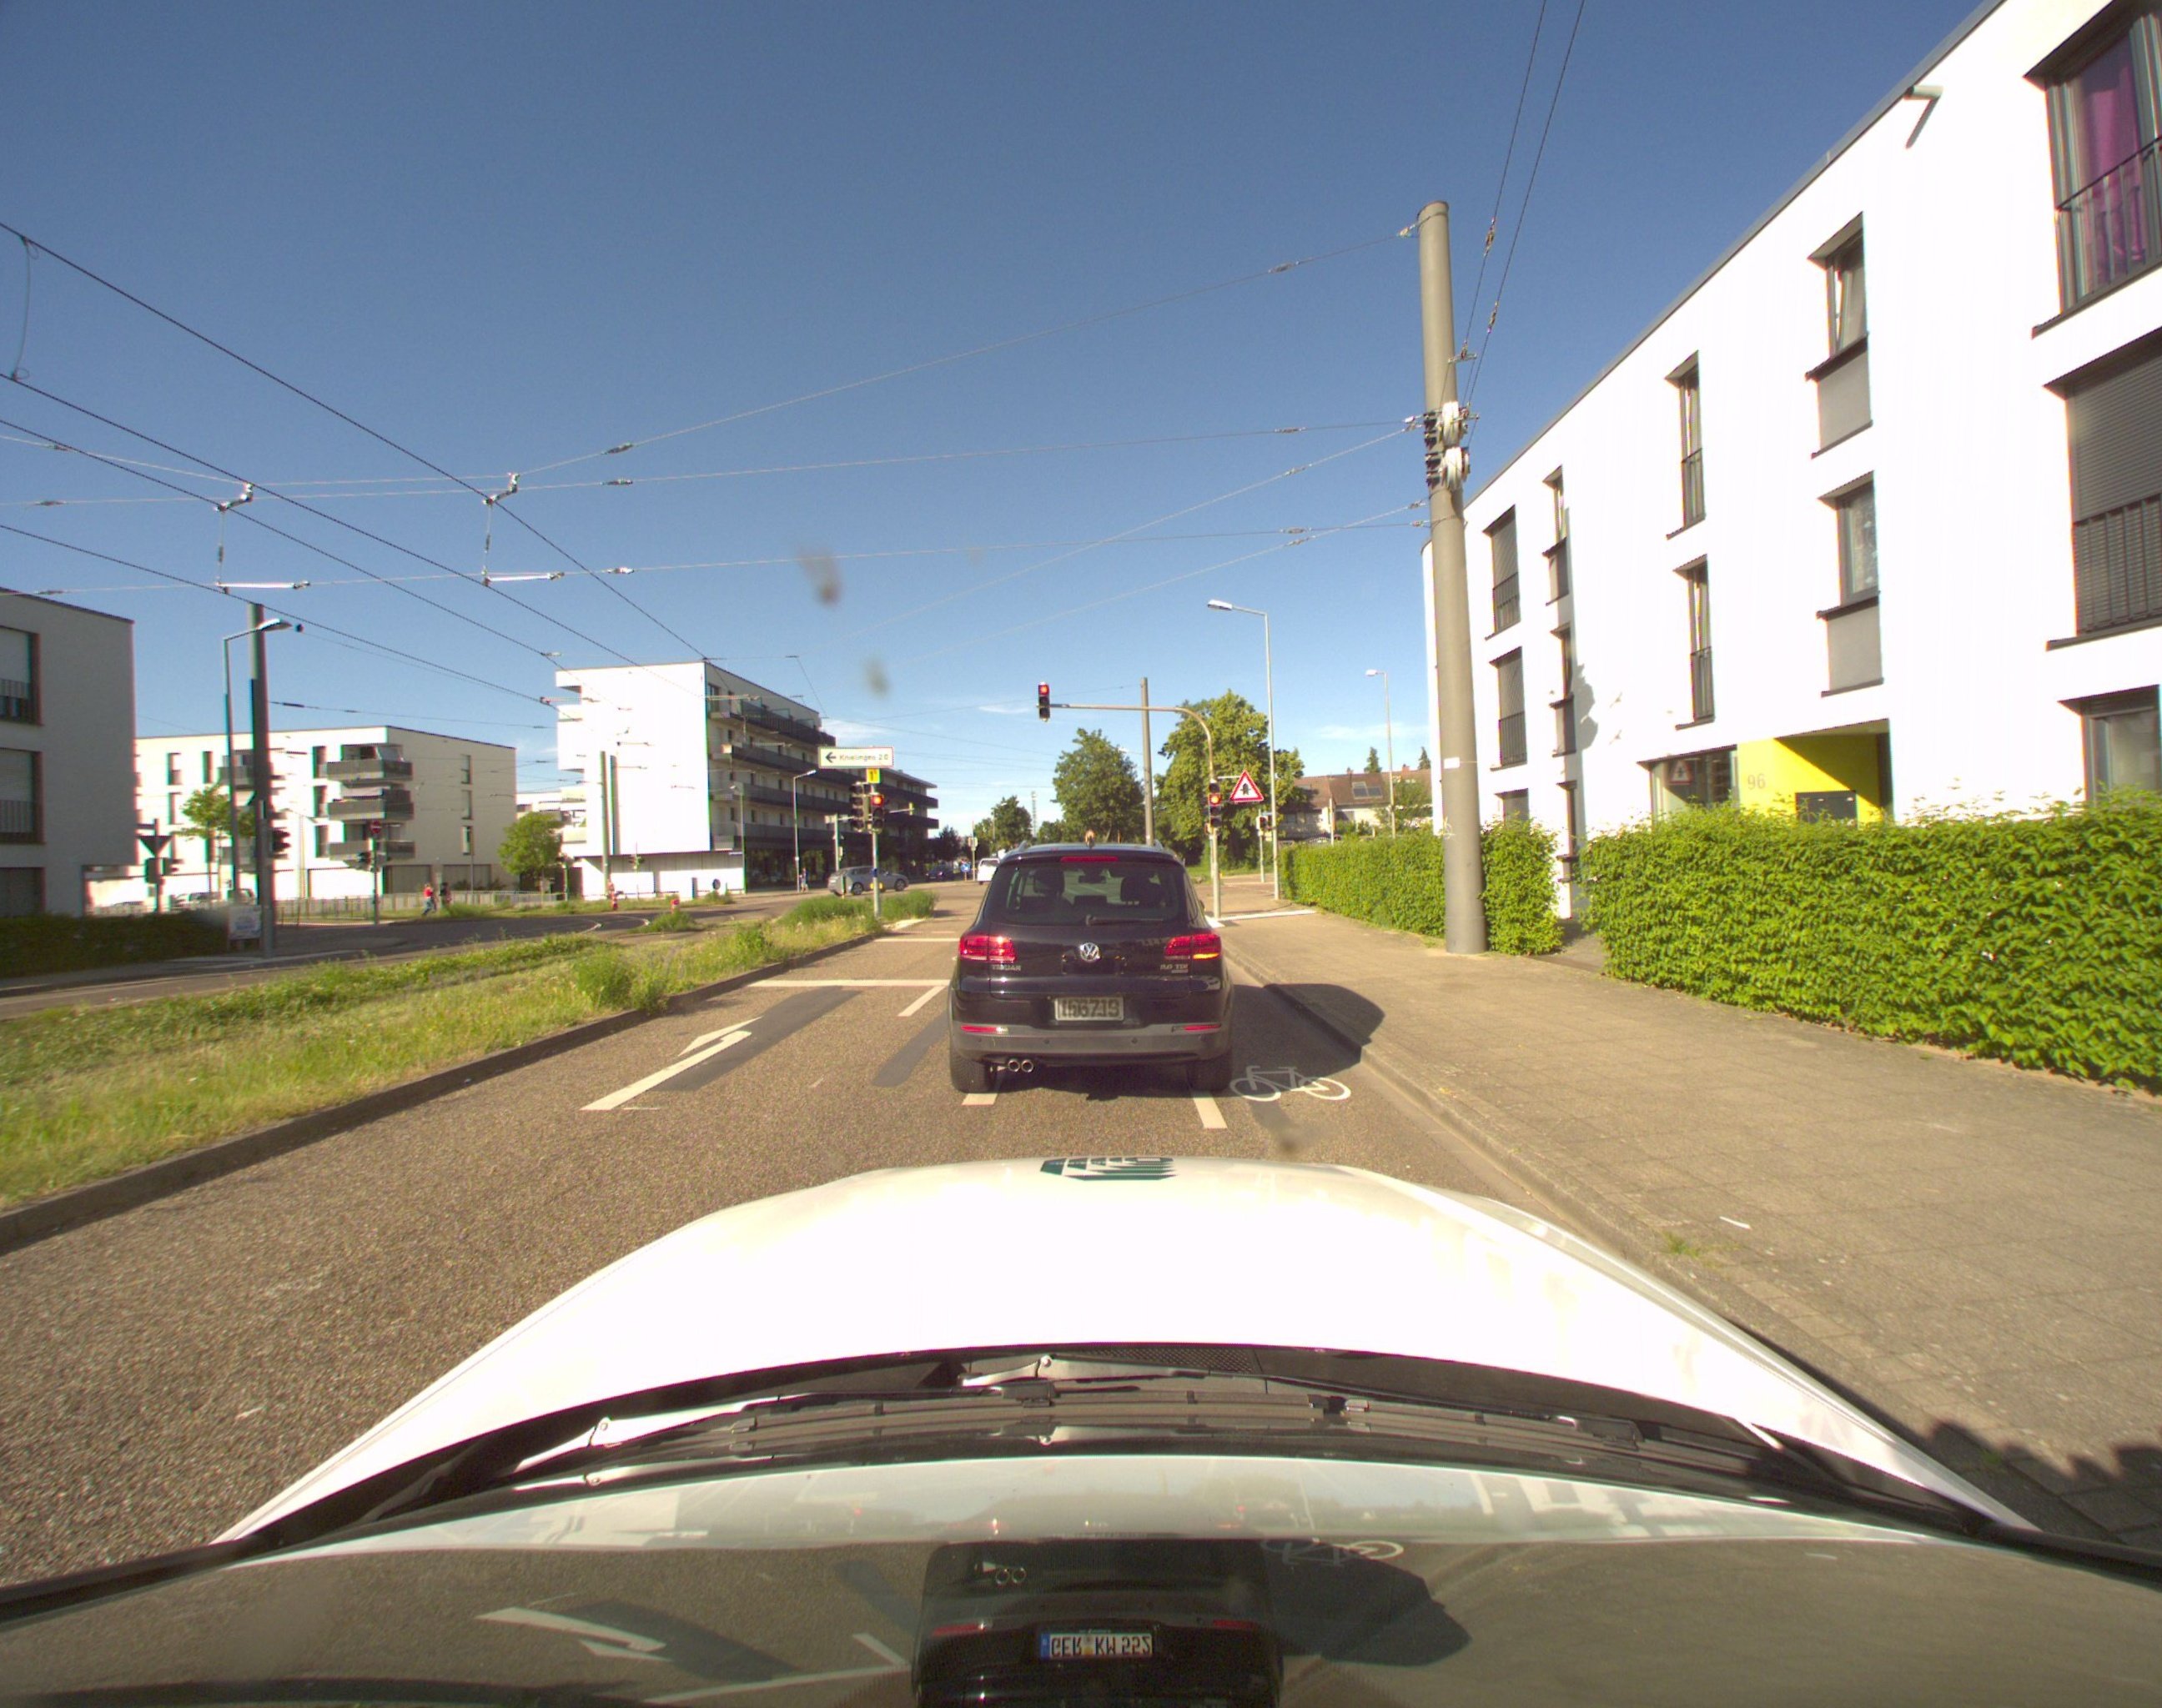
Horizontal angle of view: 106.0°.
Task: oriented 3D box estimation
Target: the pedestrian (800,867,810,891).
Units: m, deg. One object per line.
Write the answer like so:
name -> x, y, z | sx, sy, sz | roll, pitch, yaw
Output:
pedestrian -> -20.080, 1.843, 59.252 | 0.542, 1.744, 0.517 | 0, -1, -4

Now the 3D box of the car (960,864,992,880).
car -> -10.658, 1.842, 83.057 | 1.981, 1.574, 4.350 | -1, -1, 9

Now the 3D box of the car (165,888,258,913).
car -> -58.907, 3.156, 55.231 | 4.305, 1.574, 2.002 | 0, -1, 4

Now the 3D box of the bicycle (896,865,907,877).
bicycle -> -19.977, 1.906, 90.597 | 0.627, 1.332, 1.914 | 0, -1, 3

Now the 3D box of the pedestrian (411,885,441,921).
pedestrian -> -30.210, 2.253, 37.560 | 0.769, 1.605, 0.742 | 0, -1, -4

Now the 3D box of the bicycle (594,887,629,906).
bicycle -> -29.732, 2.656, 51.641 | 0.814, 1.124, 1.868 | -1, -1, 16

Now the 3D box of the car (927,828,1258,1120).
car -> 0.124, 0.695, 6.602 | 1.862, 1.637, 4.001 | 0, -1, 2

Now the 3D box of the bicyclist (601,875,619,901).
bicyclist -> -29.783, 2.123, 51.477 | 0.777, 1.614, 0.643 | -1, -1, 15

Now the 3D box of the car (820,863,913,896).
car -> -10.908, 1.279, 41.554 | 4.133, 1.485, 1.847 | -2, -1, -44

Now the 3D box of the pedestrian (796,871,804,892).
pedestrian -> -20.241, 1.974, 58.682 | 0.440, 1.503, 0.517 | 0, -1, -4

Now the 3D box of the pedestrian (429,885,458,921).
pedestrian -> -29.249, 2.244, 37.384 | 0.769, 1.605, 0.742 | 0, -1, -4

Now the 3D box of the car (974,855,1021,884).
car -> -5.288, 0.978, 51.950 | 1.851, 1.720, 3.698 | -2, 0, 12

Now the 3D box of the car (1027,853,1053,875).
car -> -3.505, 0.836, 70.749 | 1.986, 1.836, 4.000 | 0, -1, 1

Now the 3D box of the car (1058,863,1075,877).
car -> -1.843, 1.979, 102.571 | 1.987, 1.684, 4.000 | 0, -1, 0

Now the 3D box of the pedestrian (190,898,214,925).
pedestrian -> -57.263, 3.734, 53.051 | 0.810, 1.692, 0.621 | -3, -1, 2

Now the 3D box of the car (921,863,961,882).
car -> -12.304, 1.632, 71.925 | 1.980, 1.574, 4.353 | -1, -1, 11

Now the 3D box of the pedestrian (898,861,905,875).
pedestrian -> -19.971, 1.549, 90.506 | 0.640, 1.509, 0.596 | 0, -1, 2
